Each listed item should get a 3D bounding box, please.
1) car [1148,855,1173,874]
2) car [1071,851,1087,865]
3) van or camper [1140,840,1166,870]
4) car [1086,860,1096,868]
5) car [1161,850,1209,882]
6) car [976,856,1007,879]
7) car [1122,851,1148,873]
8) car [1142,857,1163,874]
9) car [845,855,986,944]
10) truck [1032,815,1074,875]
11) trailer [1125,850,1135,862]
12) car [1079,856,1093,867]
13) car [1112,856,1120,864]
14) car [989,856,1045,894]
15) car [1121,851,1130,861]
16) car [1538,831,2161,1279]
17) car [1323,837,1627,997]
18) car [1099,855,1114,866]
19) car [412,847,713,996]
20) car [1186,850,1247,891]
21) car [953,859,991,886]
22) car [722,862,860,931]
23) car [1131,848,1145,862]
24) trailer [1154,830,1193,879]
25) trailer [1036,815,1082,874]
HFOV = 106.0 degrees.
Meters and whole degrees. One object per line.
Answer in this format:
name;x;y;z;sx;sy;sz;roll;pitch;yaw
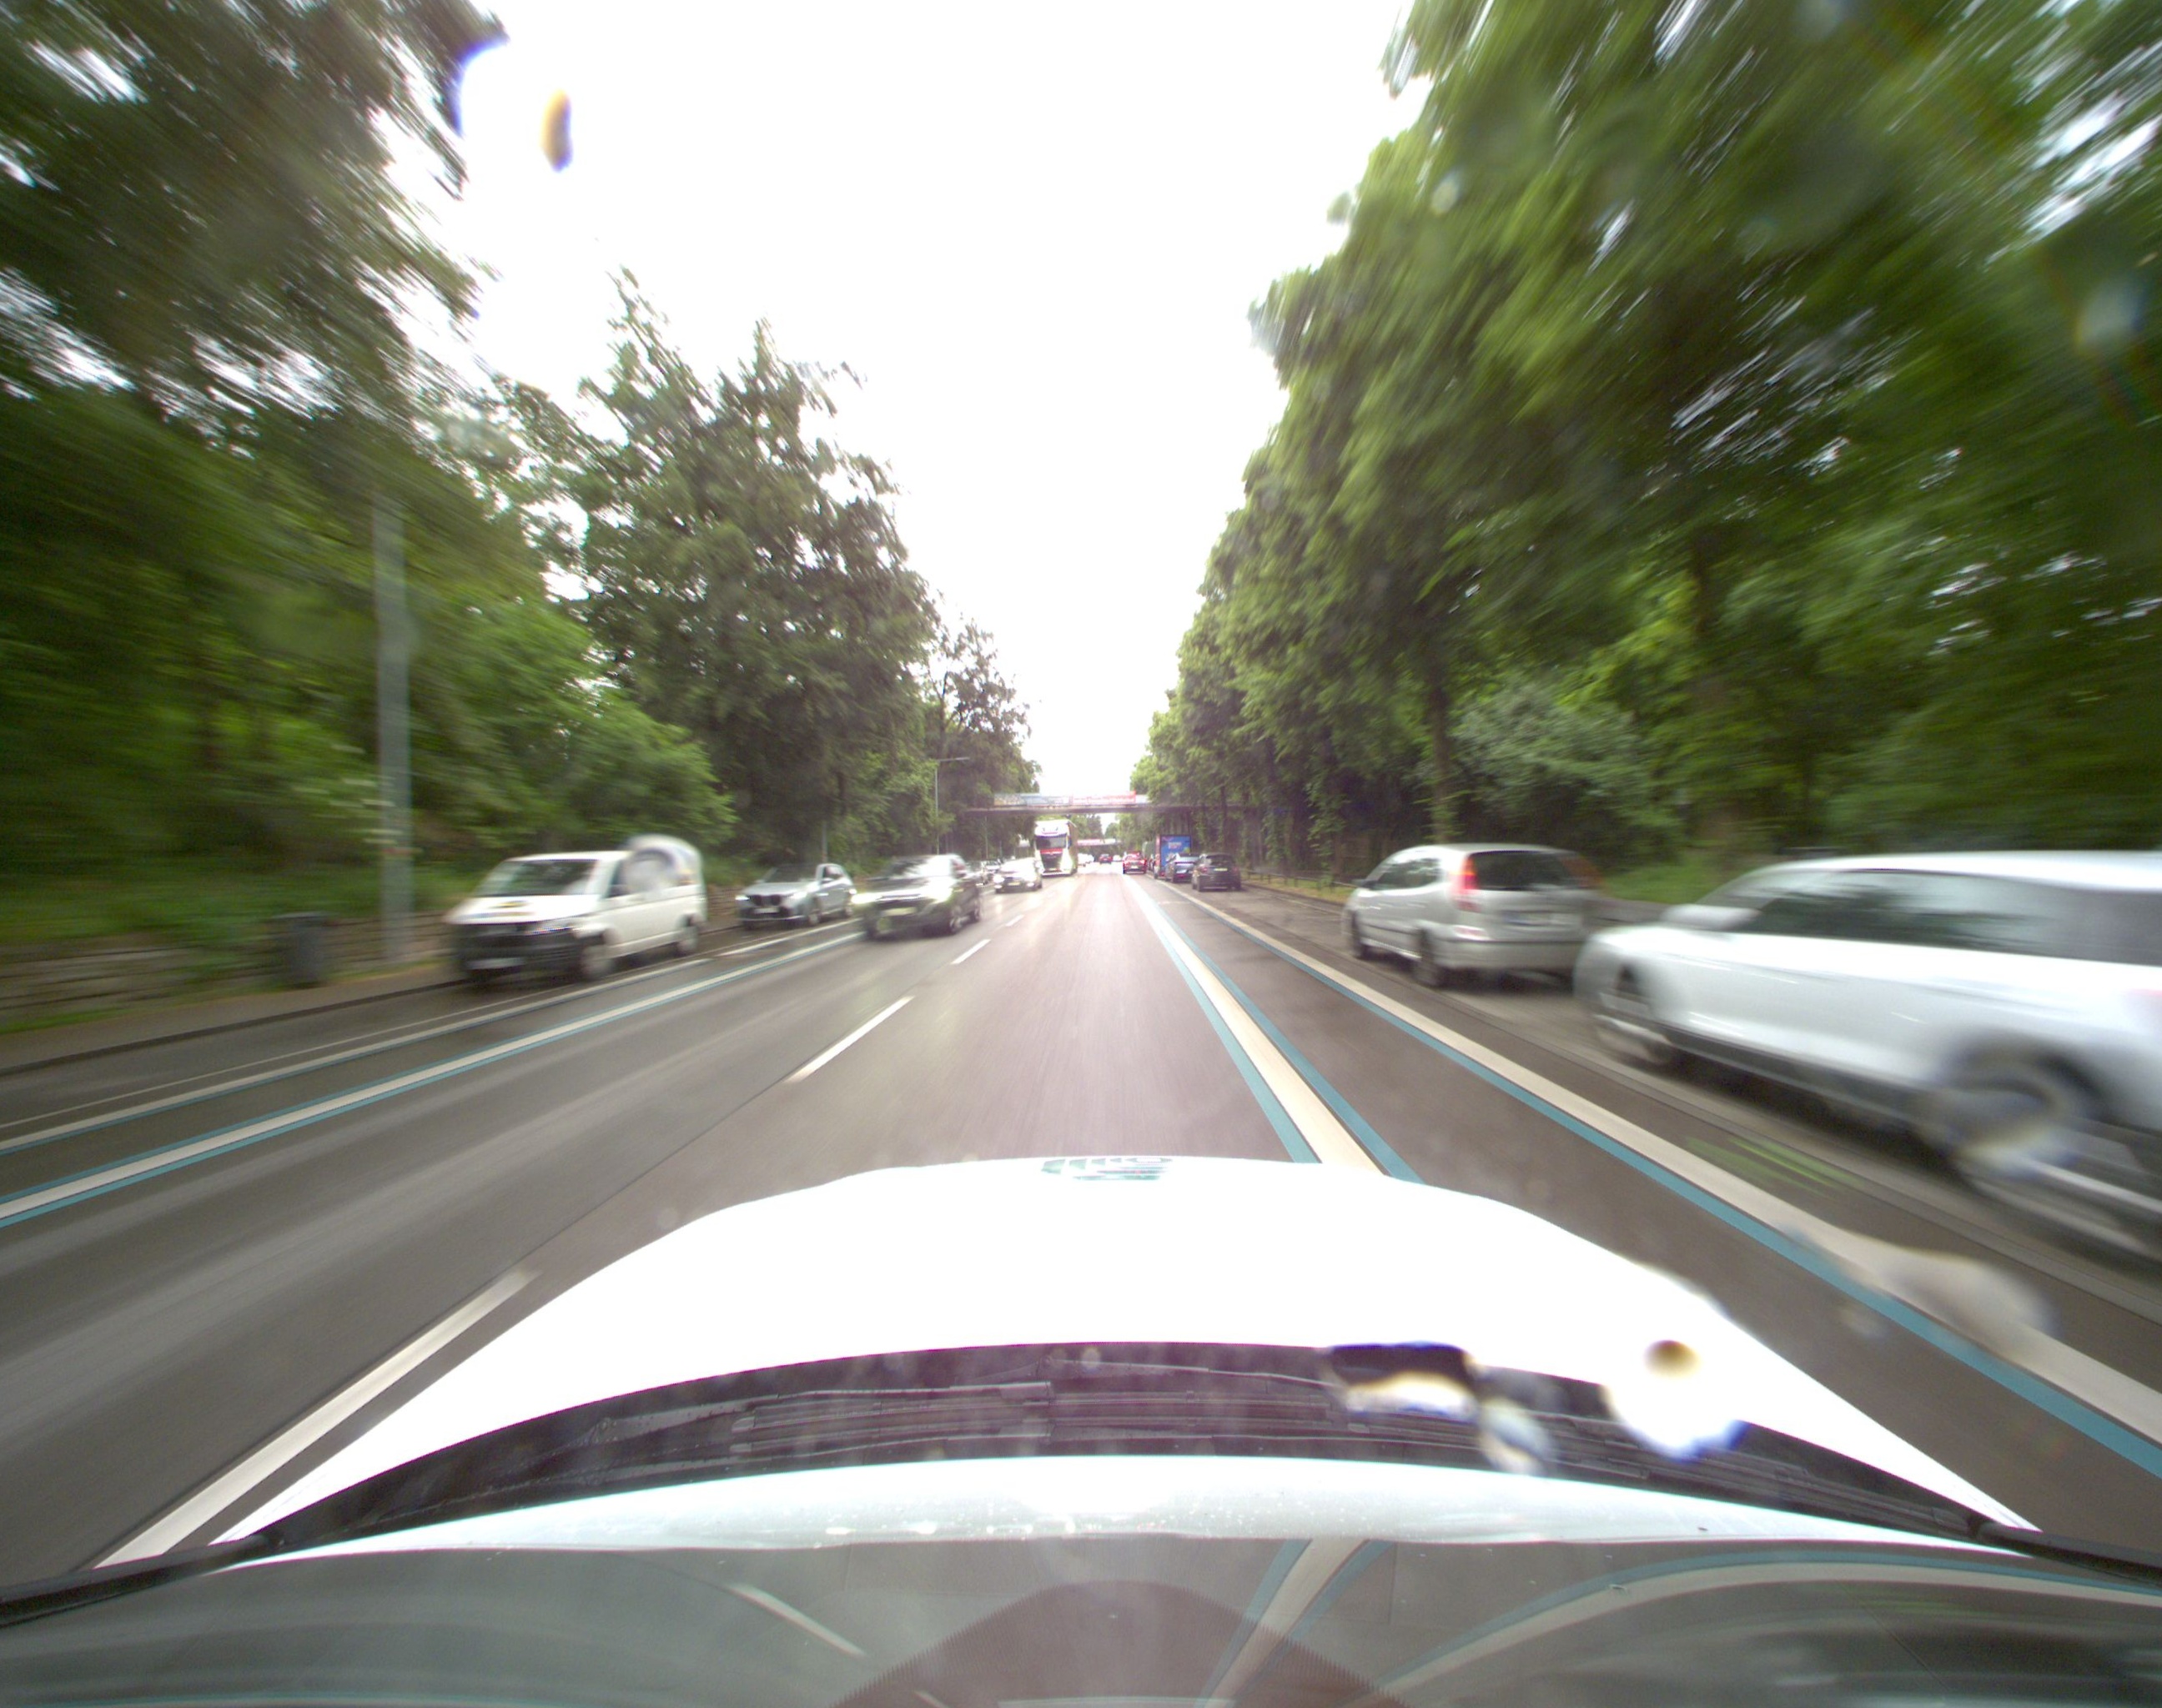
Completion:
car;6.450;0.841;66.443;1.680;1.416;4.197;-1;0;0
car;-0.195;0.530;103.607;1.827;1.666;4.182;-2;0;1
van or camper;6.927;0.078;79.376;2.035;2.729;6.901;0;0;1
car;2.031;1.981;160.340;1.914;1.560;4.623;-1;0;2
car;5.359;0.587;42.499;1.894;1.547;4.754;0;0;-1
car;-6.626;0.994;60.414;1.682;1.546;4.233;-2;0;1
car;4.041;0.591;61.483;1.811;1.508;4.142;-2;0;3
car;6.318;0.978;72.311;1.679;1.416;4.102;-1;0;2
car;-3.403;0.867;17.702;1.954;1.617;4.467;-2;0;2
truck;-1.966;-0.615;59.358;2.508;4.046;4.918;-4;0;2
trailer;9.733;0.431;162.132;1.876;2.166;3.810;-2;0;2
car;0.849;1.265;132.240;1.957;1.627;4.325;-2;0;4
car;7.725;1.290;179.410;1.725;1.583;4.037;-2;0;1
car;-2.826;0.910;36.931;1.907;1.456;4.623;-4;0;3
car;9.794;0.347;178.874;1.881;2.127;4.048;-2;0;3
car;4.567;0.672;4.542;1.691;1.513;4.472;0;0;2
car;4.671;0.637;10.580;1.747;1.597;4.741;-1;0;1
car;3.828;0.974;122.116;2.133;1.492;4.497;-1;0;0
car;-8.219;0.902;13.659;1.969;2.005;5.014;-1;0;-3
car;5.482;0.630;33.546;1.819;1.503;4.572;-2;0;1
car;-6.612;1.116;49.715;1.826;1.477;4.038;-2;0;-1
car;-7.836;1.076;22.581;2.003;1.605;4.780;-2;0;1
car;8.259;0.189;118.963;1.919;2.022;4.666;0;0;2
trailer;5.472;0.035;48.458;1.945;2.758;4.008;-1;0;2
trailer;-1.665;-0.719;67.094;2.677;4.259;12.775;-4;0;2
